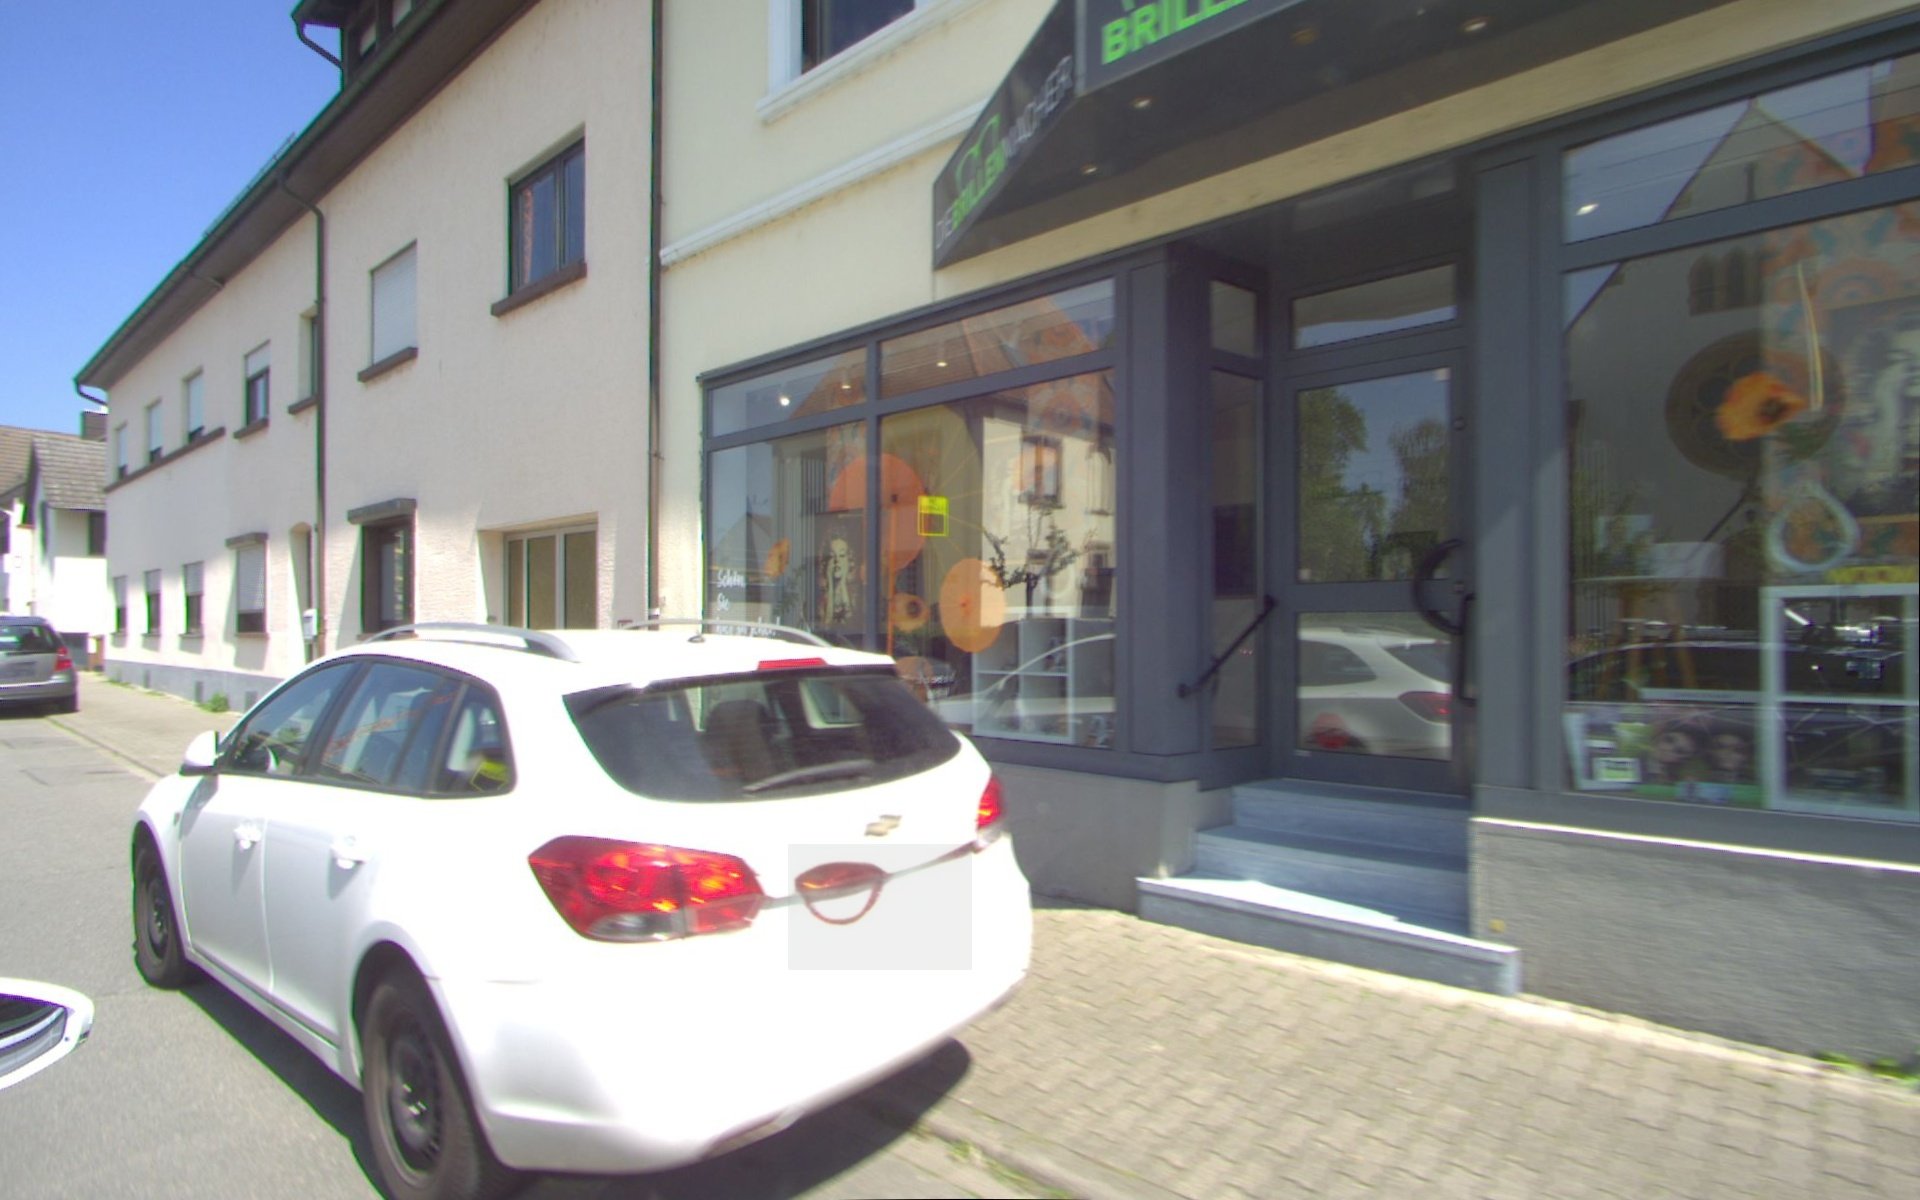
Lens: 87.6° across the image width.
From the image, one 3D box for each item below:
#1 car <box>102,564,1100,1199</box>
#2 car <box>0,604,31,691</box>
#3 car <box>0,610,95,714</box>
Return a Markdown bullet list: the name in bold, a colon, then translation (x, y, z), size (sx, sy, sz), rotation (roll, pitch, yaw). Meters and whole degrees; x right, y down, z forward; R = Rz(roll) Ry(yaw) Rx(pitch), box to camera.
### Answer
- **car**: translation (-1.729, 0.790, 3.958), size (4.193, 1.561, 1.879), rotation (-1, -3, 40)
- **car**: translation (-20.102, 0.906, 20.270), size (3.501, 1.634, 1.557), rotation (1, -1, 42)
- **car**: translation (-16.255, 0.974, 16.883), size (3.847, 1.576, 1.877), rotation (1, -2, 40)
